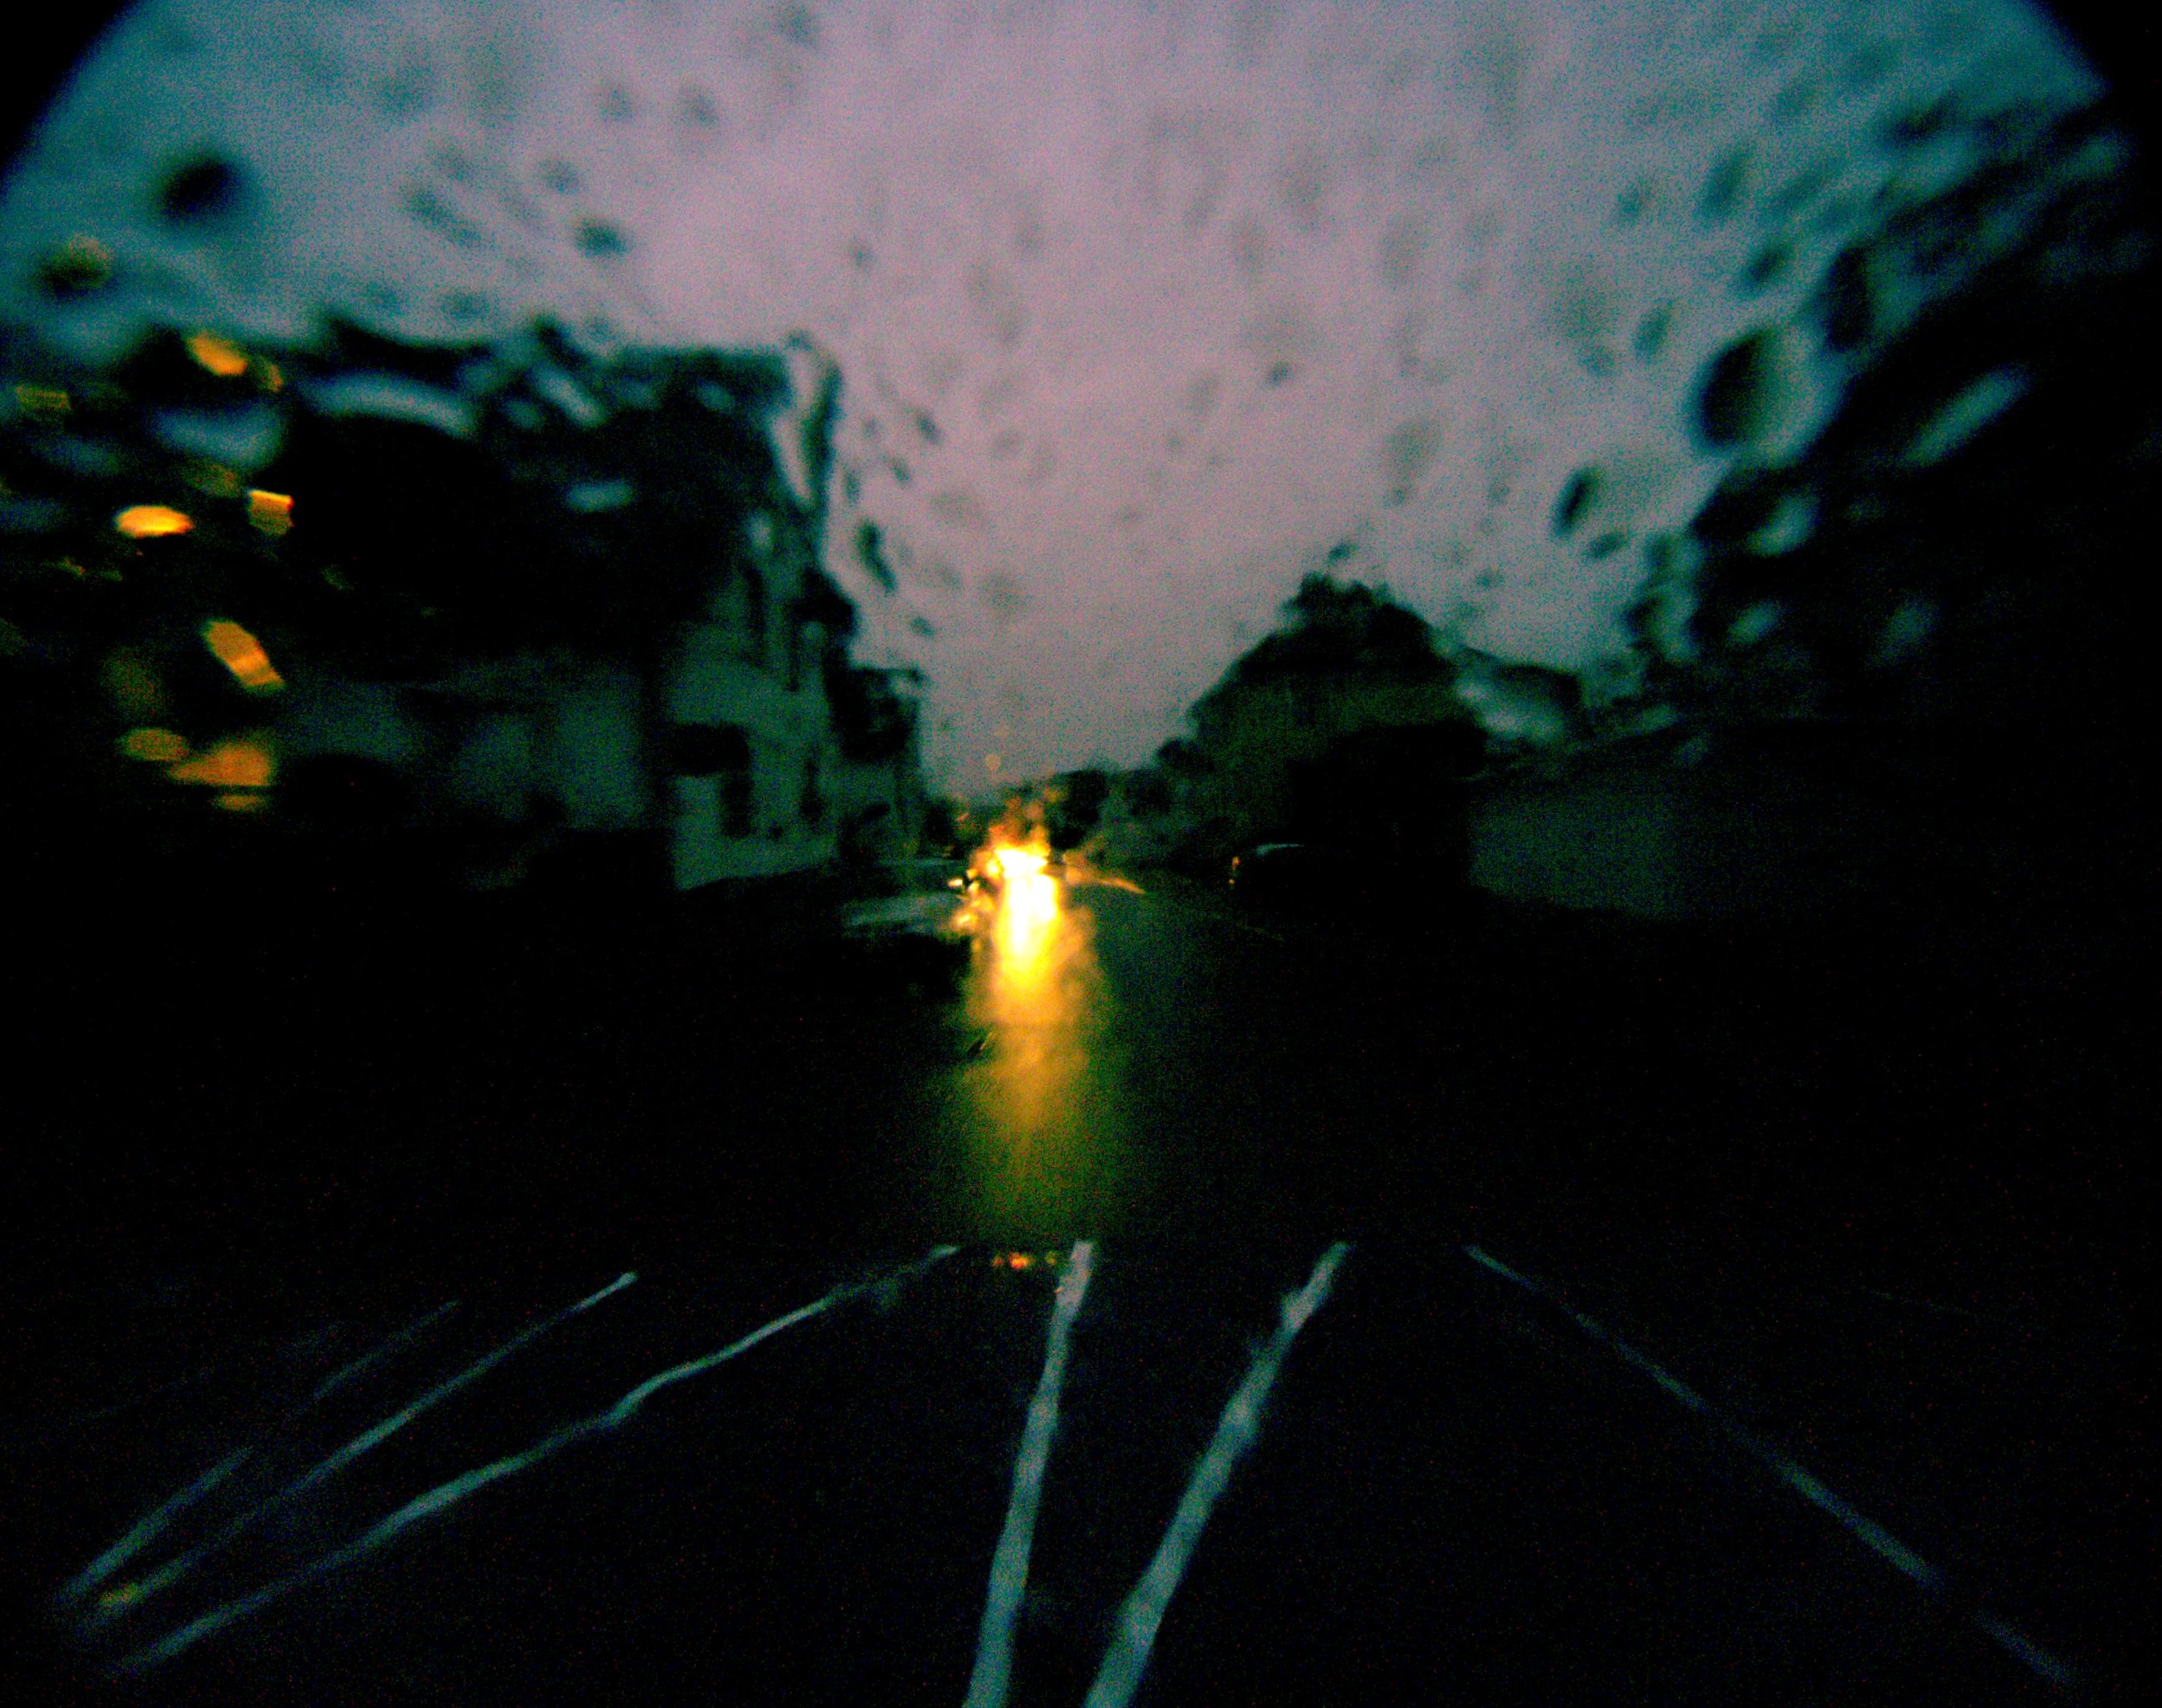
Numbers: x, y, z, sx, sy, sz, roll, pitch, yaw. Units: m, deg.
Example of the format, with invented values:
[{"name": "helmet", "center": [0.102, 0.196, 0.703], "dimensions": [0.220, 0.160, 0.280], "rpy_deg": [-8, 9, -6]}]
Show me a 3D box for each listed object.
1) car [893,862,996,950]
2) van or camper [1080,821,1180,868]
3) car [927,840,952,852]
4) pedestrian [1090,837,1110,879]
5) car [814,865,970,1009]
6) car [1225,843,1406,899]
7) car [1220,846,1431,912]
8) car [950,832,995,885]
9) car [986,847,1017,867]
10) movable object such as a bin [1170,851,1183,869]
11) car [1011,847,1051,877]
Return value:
[{"name": "car", "center": [-2.750, 0.981, 16.090], "dimensions": [1.642, 1.463, 3.998], "rpy_deg": [-3, 1, -4]}, {"name": "van or camper", "center": [3.088, -0.603, 48.627], "dimensions": [6.077, 2.925, 2.322], "rpy_deg": [0, 1, -6]}, {"name": "car", "center": [-22.937, -1.270, 123.165], "dimensions": [1.856, 1.873, 4.872], "rpy_deg": [-3, 1, -37]}, {"name": "pedestrian", "center": [0.939, 0.202, 37.347], "dimensions": [0.786, 2.002, 0.869], "rpy_deg": [-3, 2, -6]}, {"name": "car", "center": [-2.492, 1.000, 10.891], "dimensions": [1.643, 1.485, 3.997], "rpy_deg": [-3, 1, -7]}, {"name": "car", "center": [6.619, 0.456, 21.830], "dimensions": [4.615, 1.462, 1.891], "rpy_deg": [-1, 1, 0]}, {"name": "car", "center": [5.996, 0.570, 18.986], "dimensions": [4.606, 1.462, 1.999], "rpy_deg": [-1, 1, -4]}, {"name": "car", "center": [-5.501, 0.167, 38.897], "dimensions": [2.015, 2.440, 5.610], "rpy_deg": [-3, 1, -7]}, {"name": "car", "center": [-6.605, 0.194, 62.836], "dimensions": [1.993, 1.549, 4.230], "rpy_deg": [-2, 1, -12]}, {"name": "movable object such as a bin", "center": [5.442, 0.326, 43.353], "dimensions": [0.618, 1.015, 0.580], "rpy_deg": [-2, 1, -1]}, {"name": "car", "center": [-3.005, 0.426, 44.457], "dimensions": [1.992, 1.549, 4.232], "rpy_deg": [-2, 1, -8]}]
